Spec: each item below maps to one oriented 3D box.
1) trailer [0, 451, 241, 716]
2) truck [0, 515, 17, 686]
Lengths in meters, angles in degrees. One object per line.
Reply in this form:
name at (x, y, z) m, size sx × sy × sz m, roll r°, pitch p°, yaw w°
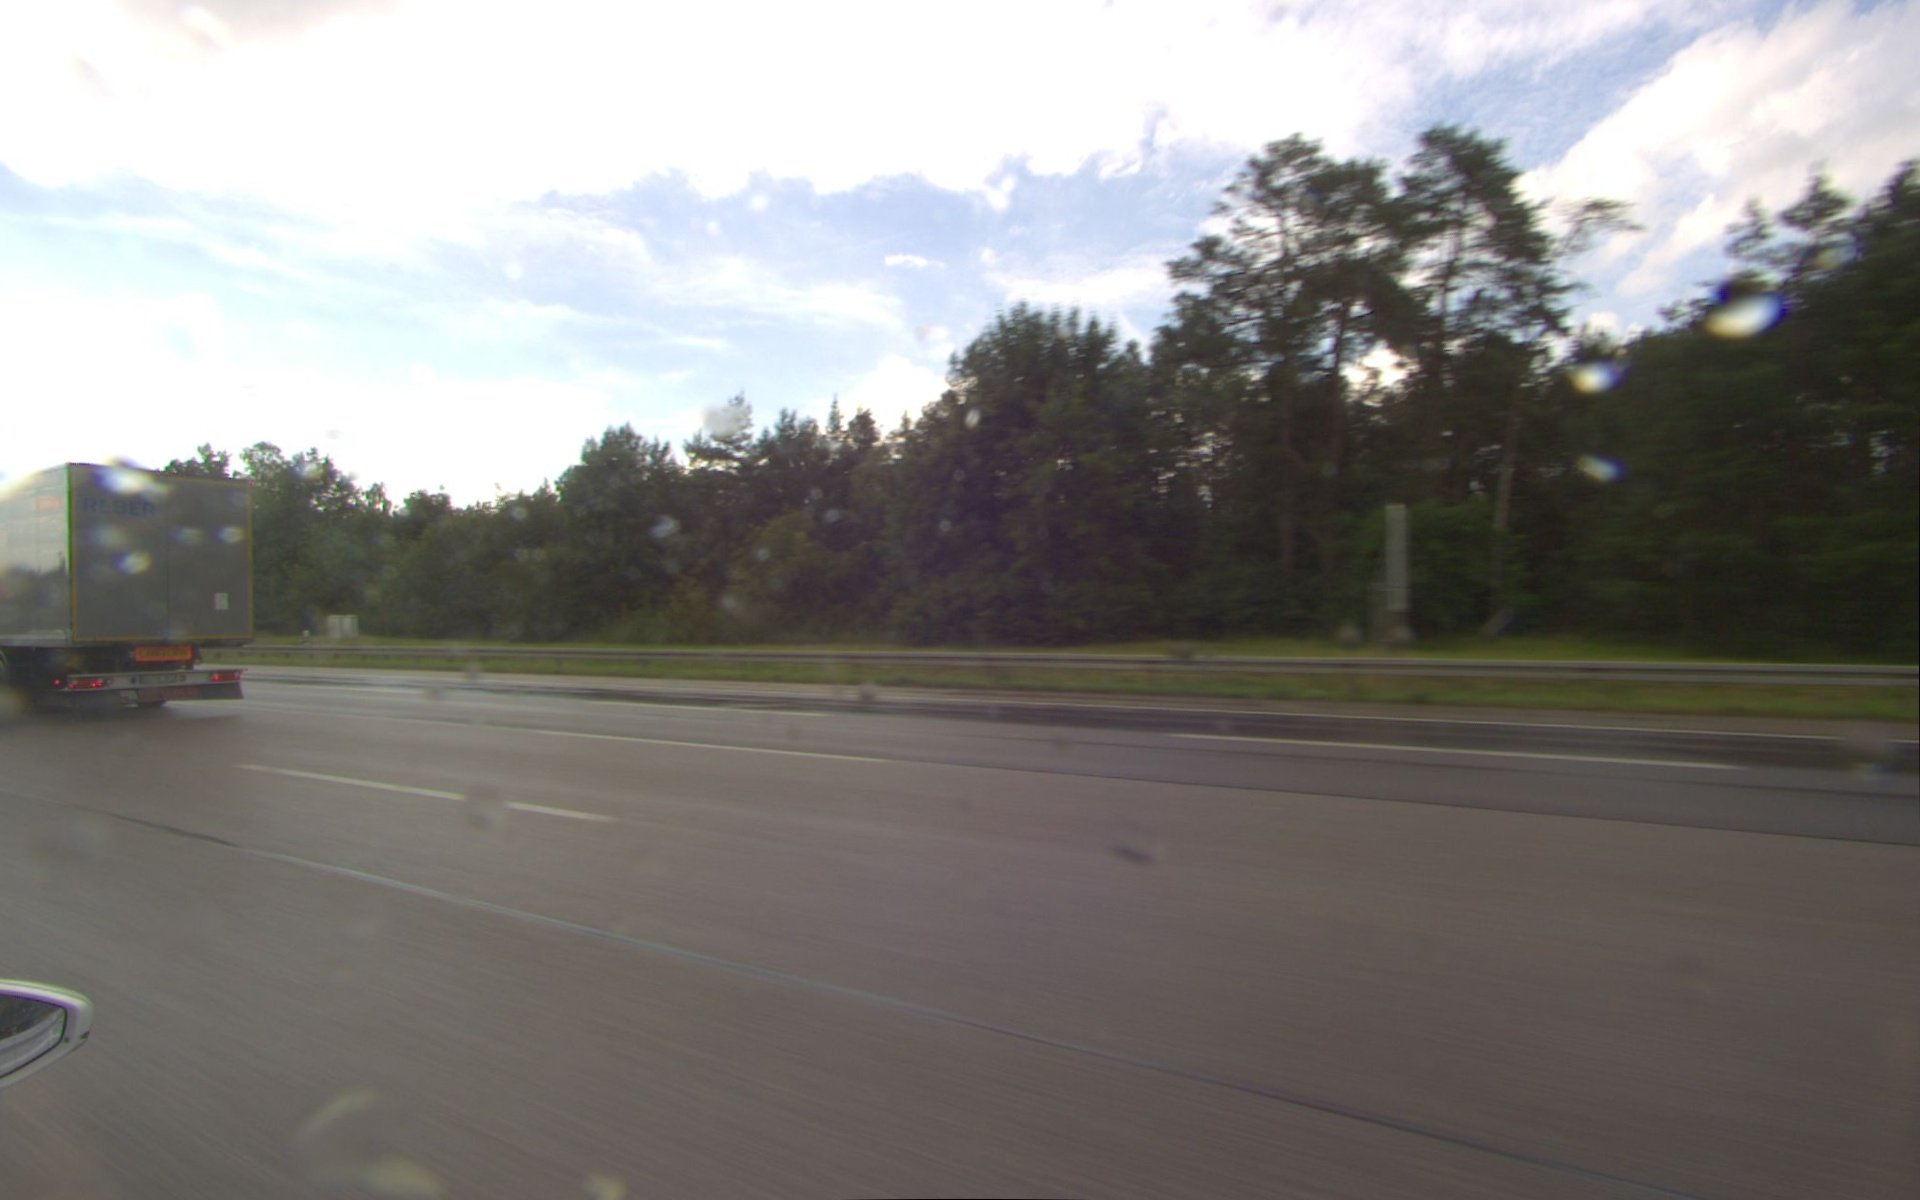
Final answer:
trailer at (-18.647, -0.178, 19.828) m, size 13.217 × 4.054 × 2.319 m, roll -1°, pitch 0°, yaw 32°
truck at (-24.709, 0.027, 23.622) m, size 5.314 × 3.919 × 2.289 m, roll 0°, pitch 0°, yaw 32°
